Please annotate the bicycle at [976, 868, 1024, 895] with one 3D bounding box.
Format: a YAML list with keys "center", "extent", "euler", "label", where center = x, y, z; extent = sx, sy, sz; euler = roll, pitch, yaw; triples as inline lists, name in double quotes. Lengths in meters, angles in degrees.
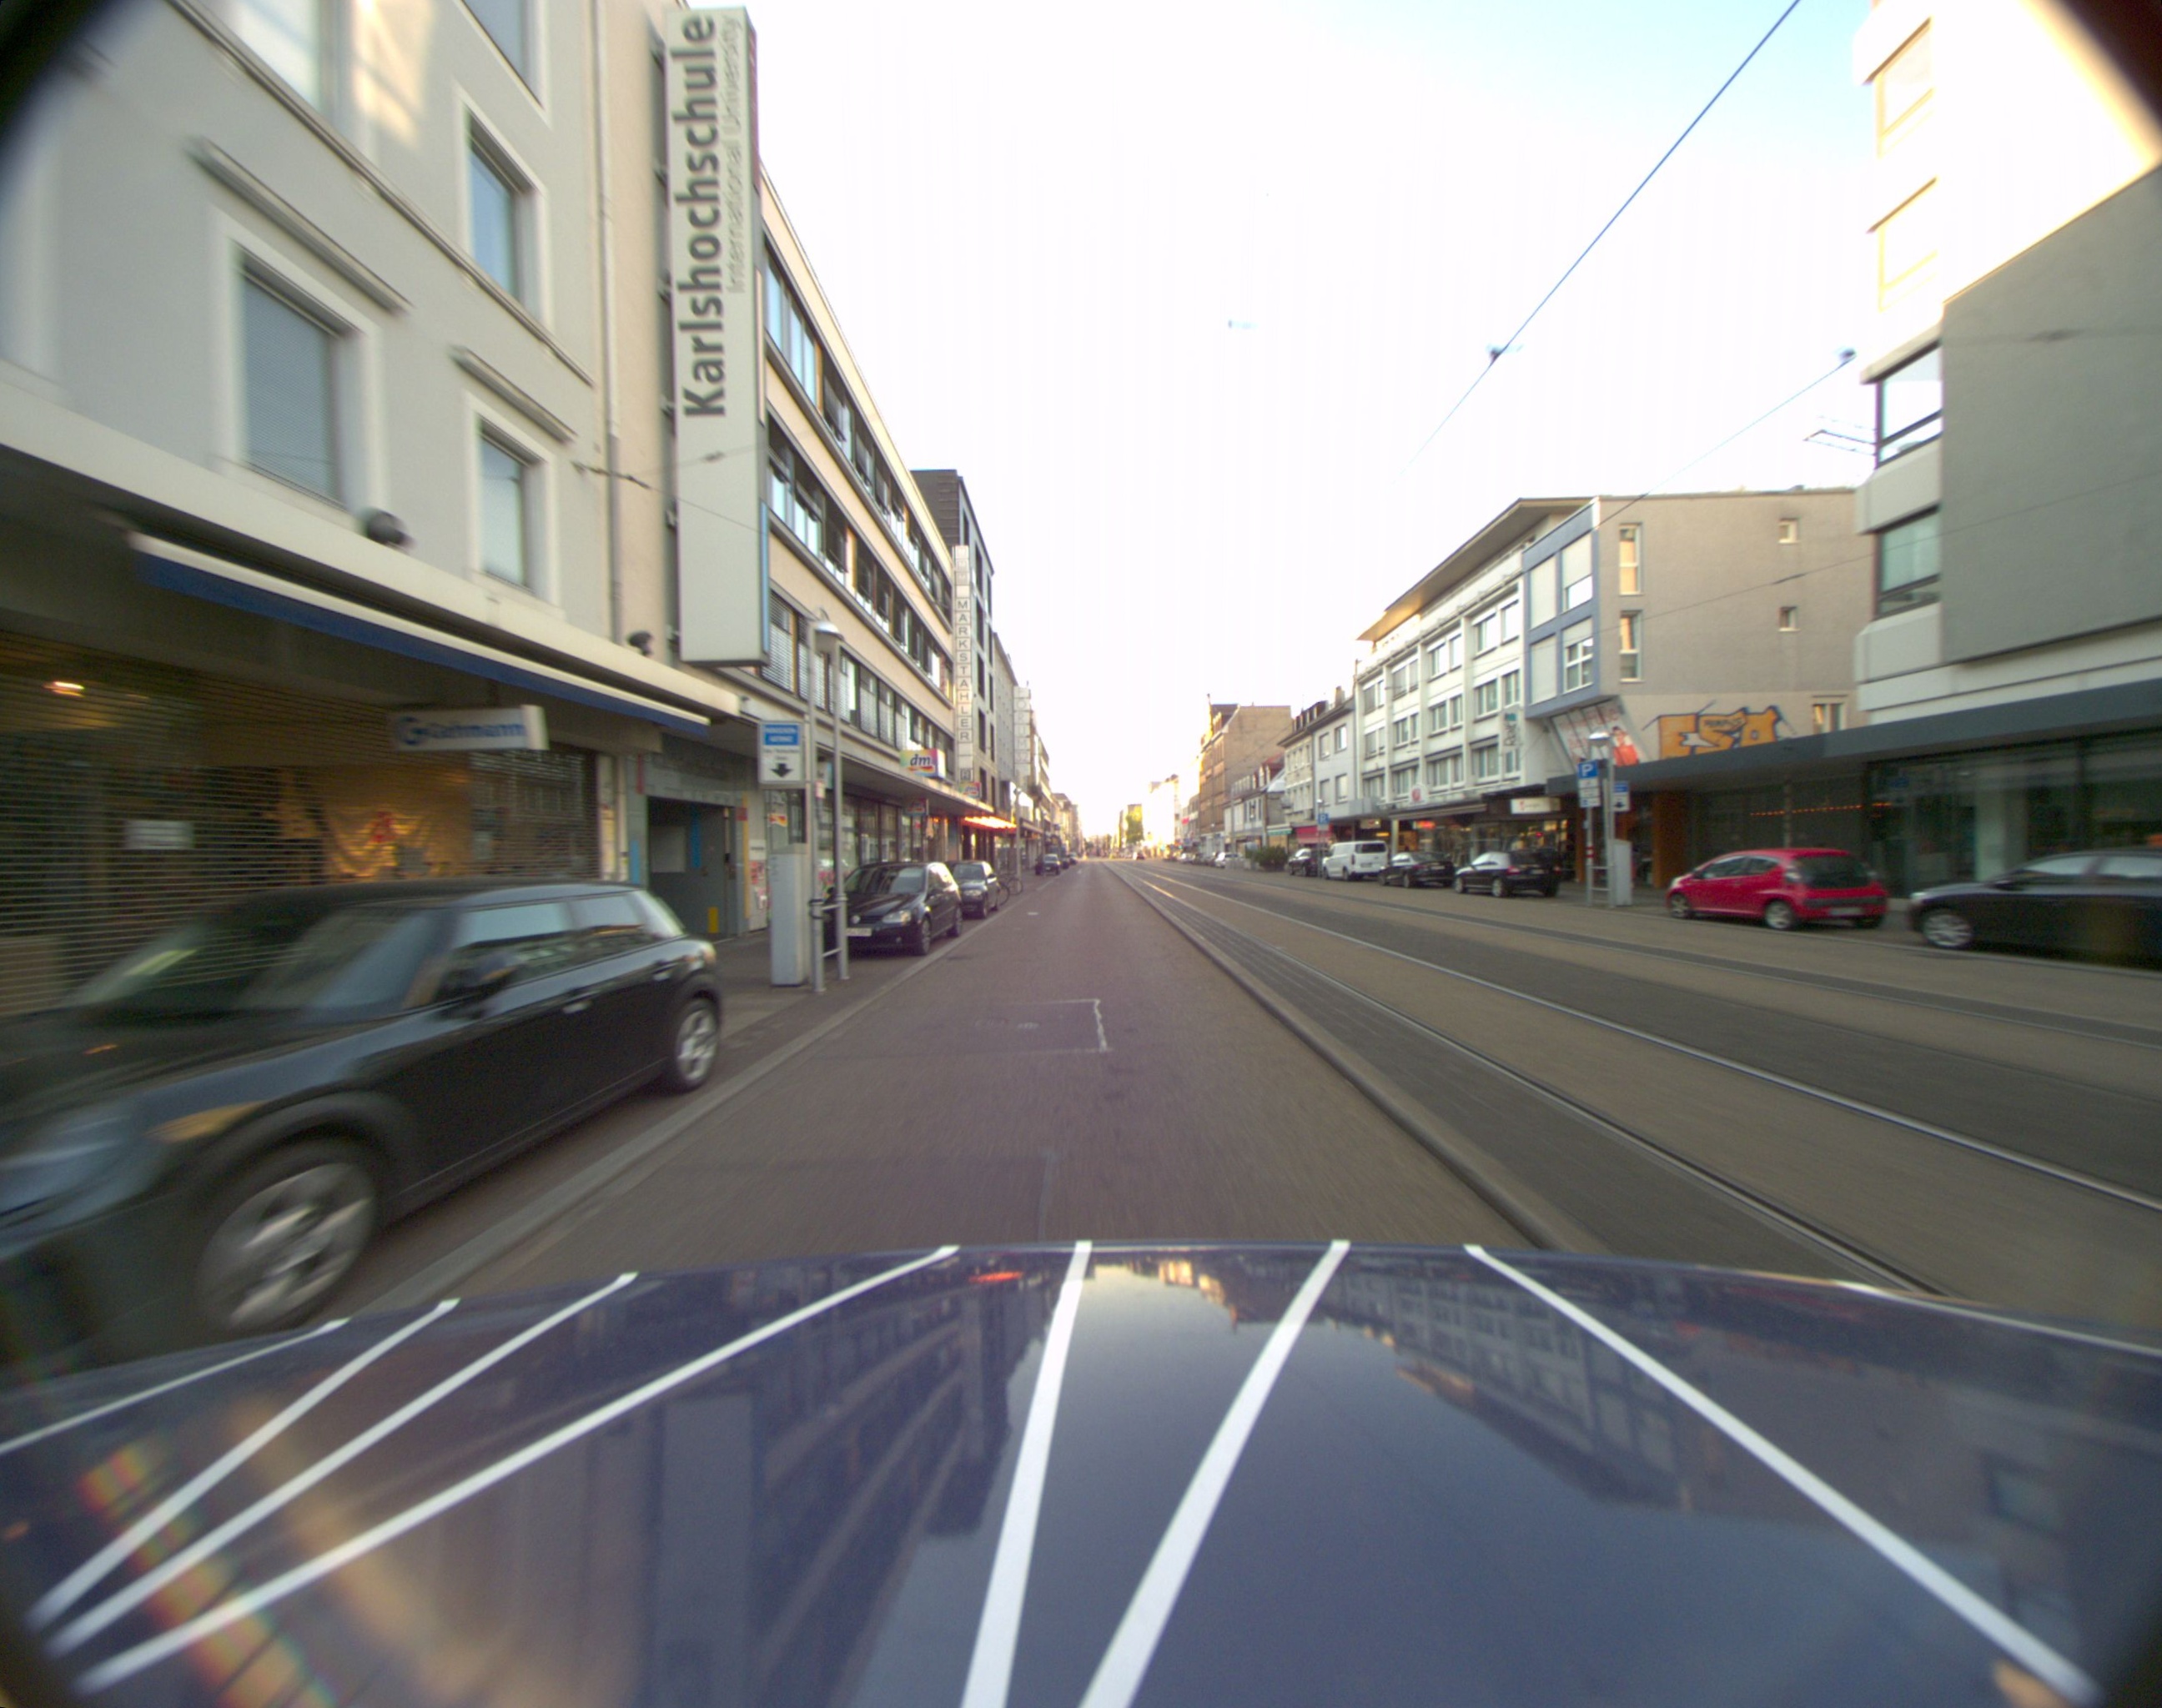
- center: [-3.134, 1.067, 29.440]
  extent: [1.799, 0.967, 0.575]
  euler: [1, 1, -2]
  label: "bicycle"

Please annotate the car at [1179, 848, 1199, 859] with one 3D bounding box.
- center: [15.029, -0.037, 105.833]
  extent: [1.999, 1.412, 4.402]
  euler: [-3, 1, -1]
  label: "car"

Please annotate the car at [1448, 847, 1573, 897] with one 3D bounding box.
- center: [13.505, 0.501, 24.190]
  extent: [1.794, 1.452, 4.091]
  euler: [-1, 1, 2]
  label: "car"

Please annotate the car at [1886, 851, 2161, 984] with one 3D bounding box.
- center: [13.121, 0.715, 9.604]
  extent: [1.696, 1.417, 3.965]
  euler: [-3, 0, 1]
  label: "car"

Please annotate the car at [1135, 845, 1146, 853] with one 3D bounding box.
- center: [12.210, -1.056, 155.632]
  extent: [1.998, 1.554, 3.999]
  euler: [-3, 1, 0]
  label: "car"

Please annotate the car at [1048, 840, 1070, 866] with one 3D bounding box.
- center: [-2.249, -0.134, 79.531]
  extent: [2.080, 2.434, 5.603]
  euler: [-3, 1, 0]
  label: "car"

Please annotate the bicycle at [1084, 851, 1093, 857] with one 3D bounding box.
- center: [1.714, 0.017, 168.116]
  extent: [2.259, 1.183, 0.495]
  euler: [-2, 2, 43]
  label: "bicycle"

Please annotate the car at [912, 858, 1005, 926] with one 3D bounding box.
- center: [-3.099, 0.917, 20.016]
  extent: [1.658, 1.454, 4.022]
  euler: [-3, 1, 1]
  label: "car"

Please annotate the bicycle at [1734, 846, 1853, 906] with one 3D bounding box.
- center: [17.452, 0.529, 18.641]
  extent: [2.051, 1.332, 0.875]
  euler: [-3, 1, 1]
  label: "bicycle"

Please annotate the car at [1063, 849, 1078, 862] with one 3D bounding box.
- center: [-1.499, 0.207, 109.046]
  extent: [1.998, 1.663, 3.876]
  euler: [-3, 1, 0]
  label: "car"

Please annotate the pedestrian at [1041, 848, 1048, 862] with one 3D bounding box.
- center: [-4.379, 0.128, 91.015]
  extent: [0.743, 1.746, 0.789]
  euler: [1, 1, -3]
  label: "pedestrian"

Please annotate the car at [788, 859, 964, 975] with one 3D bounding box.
- center: [-3.270, 0.922, 13.007]
  extent: [1.769, 1.505, 4.071]
  euler: [-3, 1, 1]
  label: "car"

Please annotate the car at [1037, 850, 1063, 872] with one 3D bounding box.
- center: [-2.358, 0.512, 57.943]
  extent: [1.744, 1.532, 3.965]
  euler: [-1, 1, 1]
  label: "car"

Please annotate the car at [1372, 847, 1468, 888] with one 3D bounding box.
- center: [13.637, 0.498, 30.883]
  extent: [1.876, 1.418, 4.570]
  euler: [-3, 1, 1]
  label: "car"

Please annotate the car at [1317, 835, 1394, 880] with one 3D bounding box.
- center: [13.782, 0.129, 38.506]
  extent: [1.969, 2.002, 5.099]
  euler: [-3, 1, 0]
  label: "car"

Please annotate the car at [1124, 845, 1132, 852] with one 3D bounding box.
- center: [13.306, -1.573, 217.291]
  extent: [1.998, 1.830, 3.999]
  euler: [-3, 2, 0]
  label: "car"

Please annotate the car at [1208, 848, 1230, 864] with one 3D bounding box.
- center: [14.118, 0.176, 77.946]
  extent: [1.660, 1.562, 3.470]
  euler: [-3, 1, 1]
  label: "car"

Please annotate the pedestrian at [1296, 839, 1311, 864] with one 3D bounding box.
- center: [16.494, -0.185, 56.431]
  extent: [0.819, 1.772, 0.818]
  euler: [-3, 1, 1]
  label: "pedestrian"

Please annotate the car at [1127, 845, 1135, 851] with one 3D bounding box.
- center: [13.287, -1.565, 202.150]
  extent: [1.998, 1.434, 3.999]
  euler: [-3, 1, 0]
  label: "car"

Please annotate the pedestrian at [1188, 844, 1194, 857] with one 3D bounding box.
- center: [17.472, -0.586, 120.377]
  extent: [0.748, 2.002, 1.049]
  euler: [-3, 2, 5]
  label: "pedestrian"

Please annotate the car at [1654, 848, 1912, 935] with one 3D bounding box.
- center: [13.241, 0.623, 14.658]
  extent: [1.696, 1.426, 3.592]
  euler: [-1, 0, 1]
  label: "car"

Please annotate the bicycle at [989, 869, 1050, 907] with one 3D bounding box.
- center: [-1.917, 1.045, 23.750]
  extent: [1.844, 1.103, 0.642]
  euler: [-1, 1, -2]
  label: "bicycle"

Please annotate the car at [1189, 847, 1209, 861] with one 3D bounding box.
- center: [14.533, -0.029, 93.727]
  extent: [1.846, 1.484, 3.815]
  euler: [-3, 1, 1]
  label: "car"

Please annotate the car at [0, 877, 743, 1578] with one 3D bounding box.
- center: [-3.406, 0.976, 3.543]
  extent: [1.730, 1.473, 3.999]
  euler: [-3, 1, 1]
  label: "car"

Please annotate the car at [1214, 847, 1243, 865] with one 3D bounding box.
- center: [14.158, 0.176, 73.077]
  extent: [1.896, 1.547, 4.622]
  euler: [-3, 1, 1]
  label: "car"

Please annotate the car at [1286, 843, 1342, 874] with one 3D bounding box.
- center: [14.019, 0.216, 46.065]
  extent: [1.998, 1.687, 4.588]
  euler: [-3, 1, 1]
  label: "car"

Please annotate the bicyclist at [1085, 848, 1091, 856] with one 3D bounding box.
- center: [1.614, -0.468, 168.150]
  extent: [0.897, 1.795, 0.885]
  euler: [-2, 2, 39]
  label: "bicyclist"
